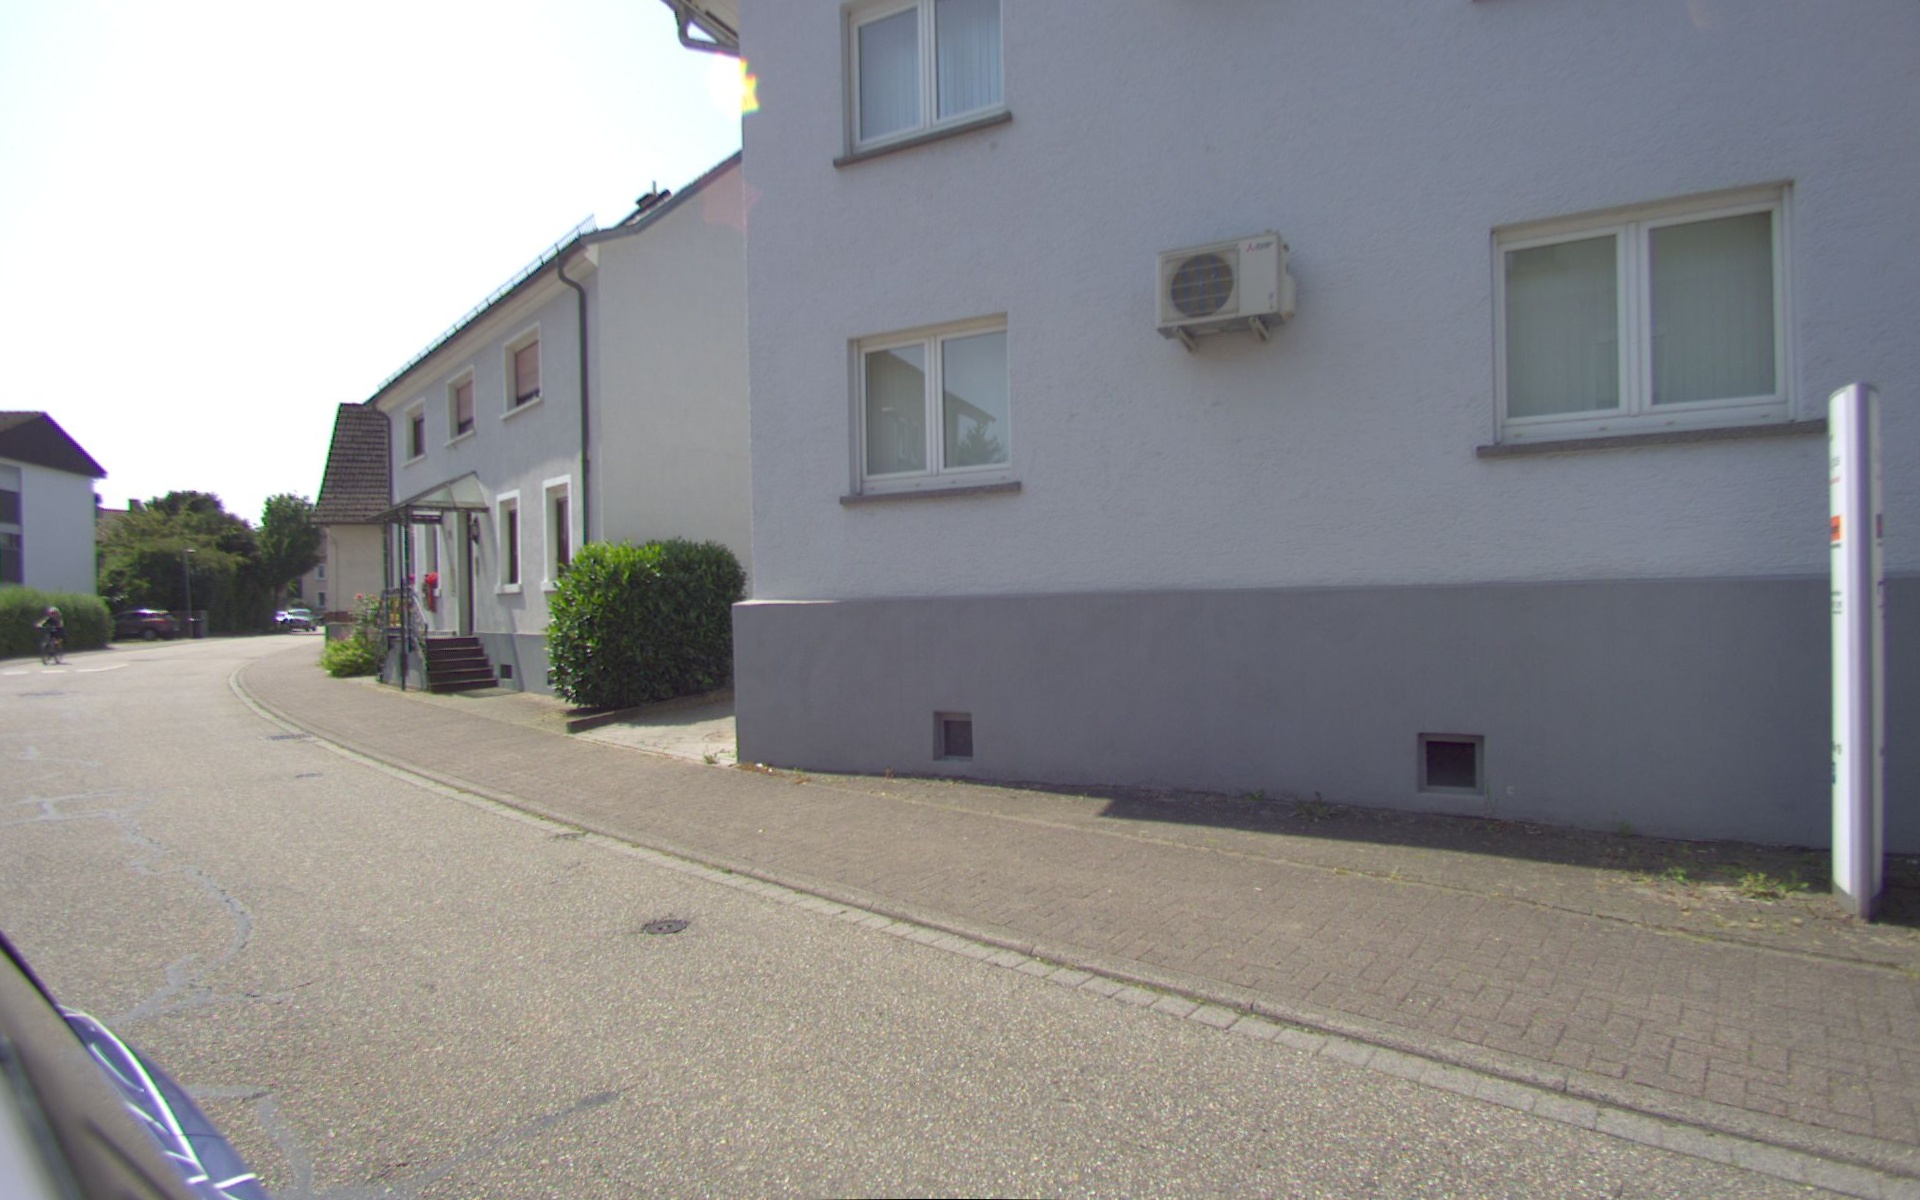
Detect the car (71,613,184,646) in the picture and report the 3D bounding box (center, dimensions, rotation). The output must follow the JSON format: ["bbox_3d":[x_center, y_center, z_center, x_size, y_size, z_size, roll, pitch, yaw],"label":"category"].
[{"bbox_3d":[-44.339,1.546,54.016,4.218,1.684,2.072,0,-1,-21],"label":"car"}]

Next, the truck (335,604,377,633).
[{"bbox_3d":[-46.182,1.388,77.523,2.229,2.151,6.787,0,0,-26],"label":"truck"}]

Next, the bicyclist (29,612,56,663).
[{"bbox_3d":[-27.571,1.126,30.409,0.539,1.501,0.798,-1,0,-40],"label":"bicyclist"}]

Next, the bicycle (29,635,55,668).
[{"bbox_3d":[-27.461,1.535,30.280,0.513,0.911,1.315,-1,0,-39],"label":"bicycle"}]

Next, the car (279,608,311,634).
[{"bbox_3d":[-49.715,1.550,75.700,1.752,1.855,3.913,0,-1,-30],"label":"car"}]
